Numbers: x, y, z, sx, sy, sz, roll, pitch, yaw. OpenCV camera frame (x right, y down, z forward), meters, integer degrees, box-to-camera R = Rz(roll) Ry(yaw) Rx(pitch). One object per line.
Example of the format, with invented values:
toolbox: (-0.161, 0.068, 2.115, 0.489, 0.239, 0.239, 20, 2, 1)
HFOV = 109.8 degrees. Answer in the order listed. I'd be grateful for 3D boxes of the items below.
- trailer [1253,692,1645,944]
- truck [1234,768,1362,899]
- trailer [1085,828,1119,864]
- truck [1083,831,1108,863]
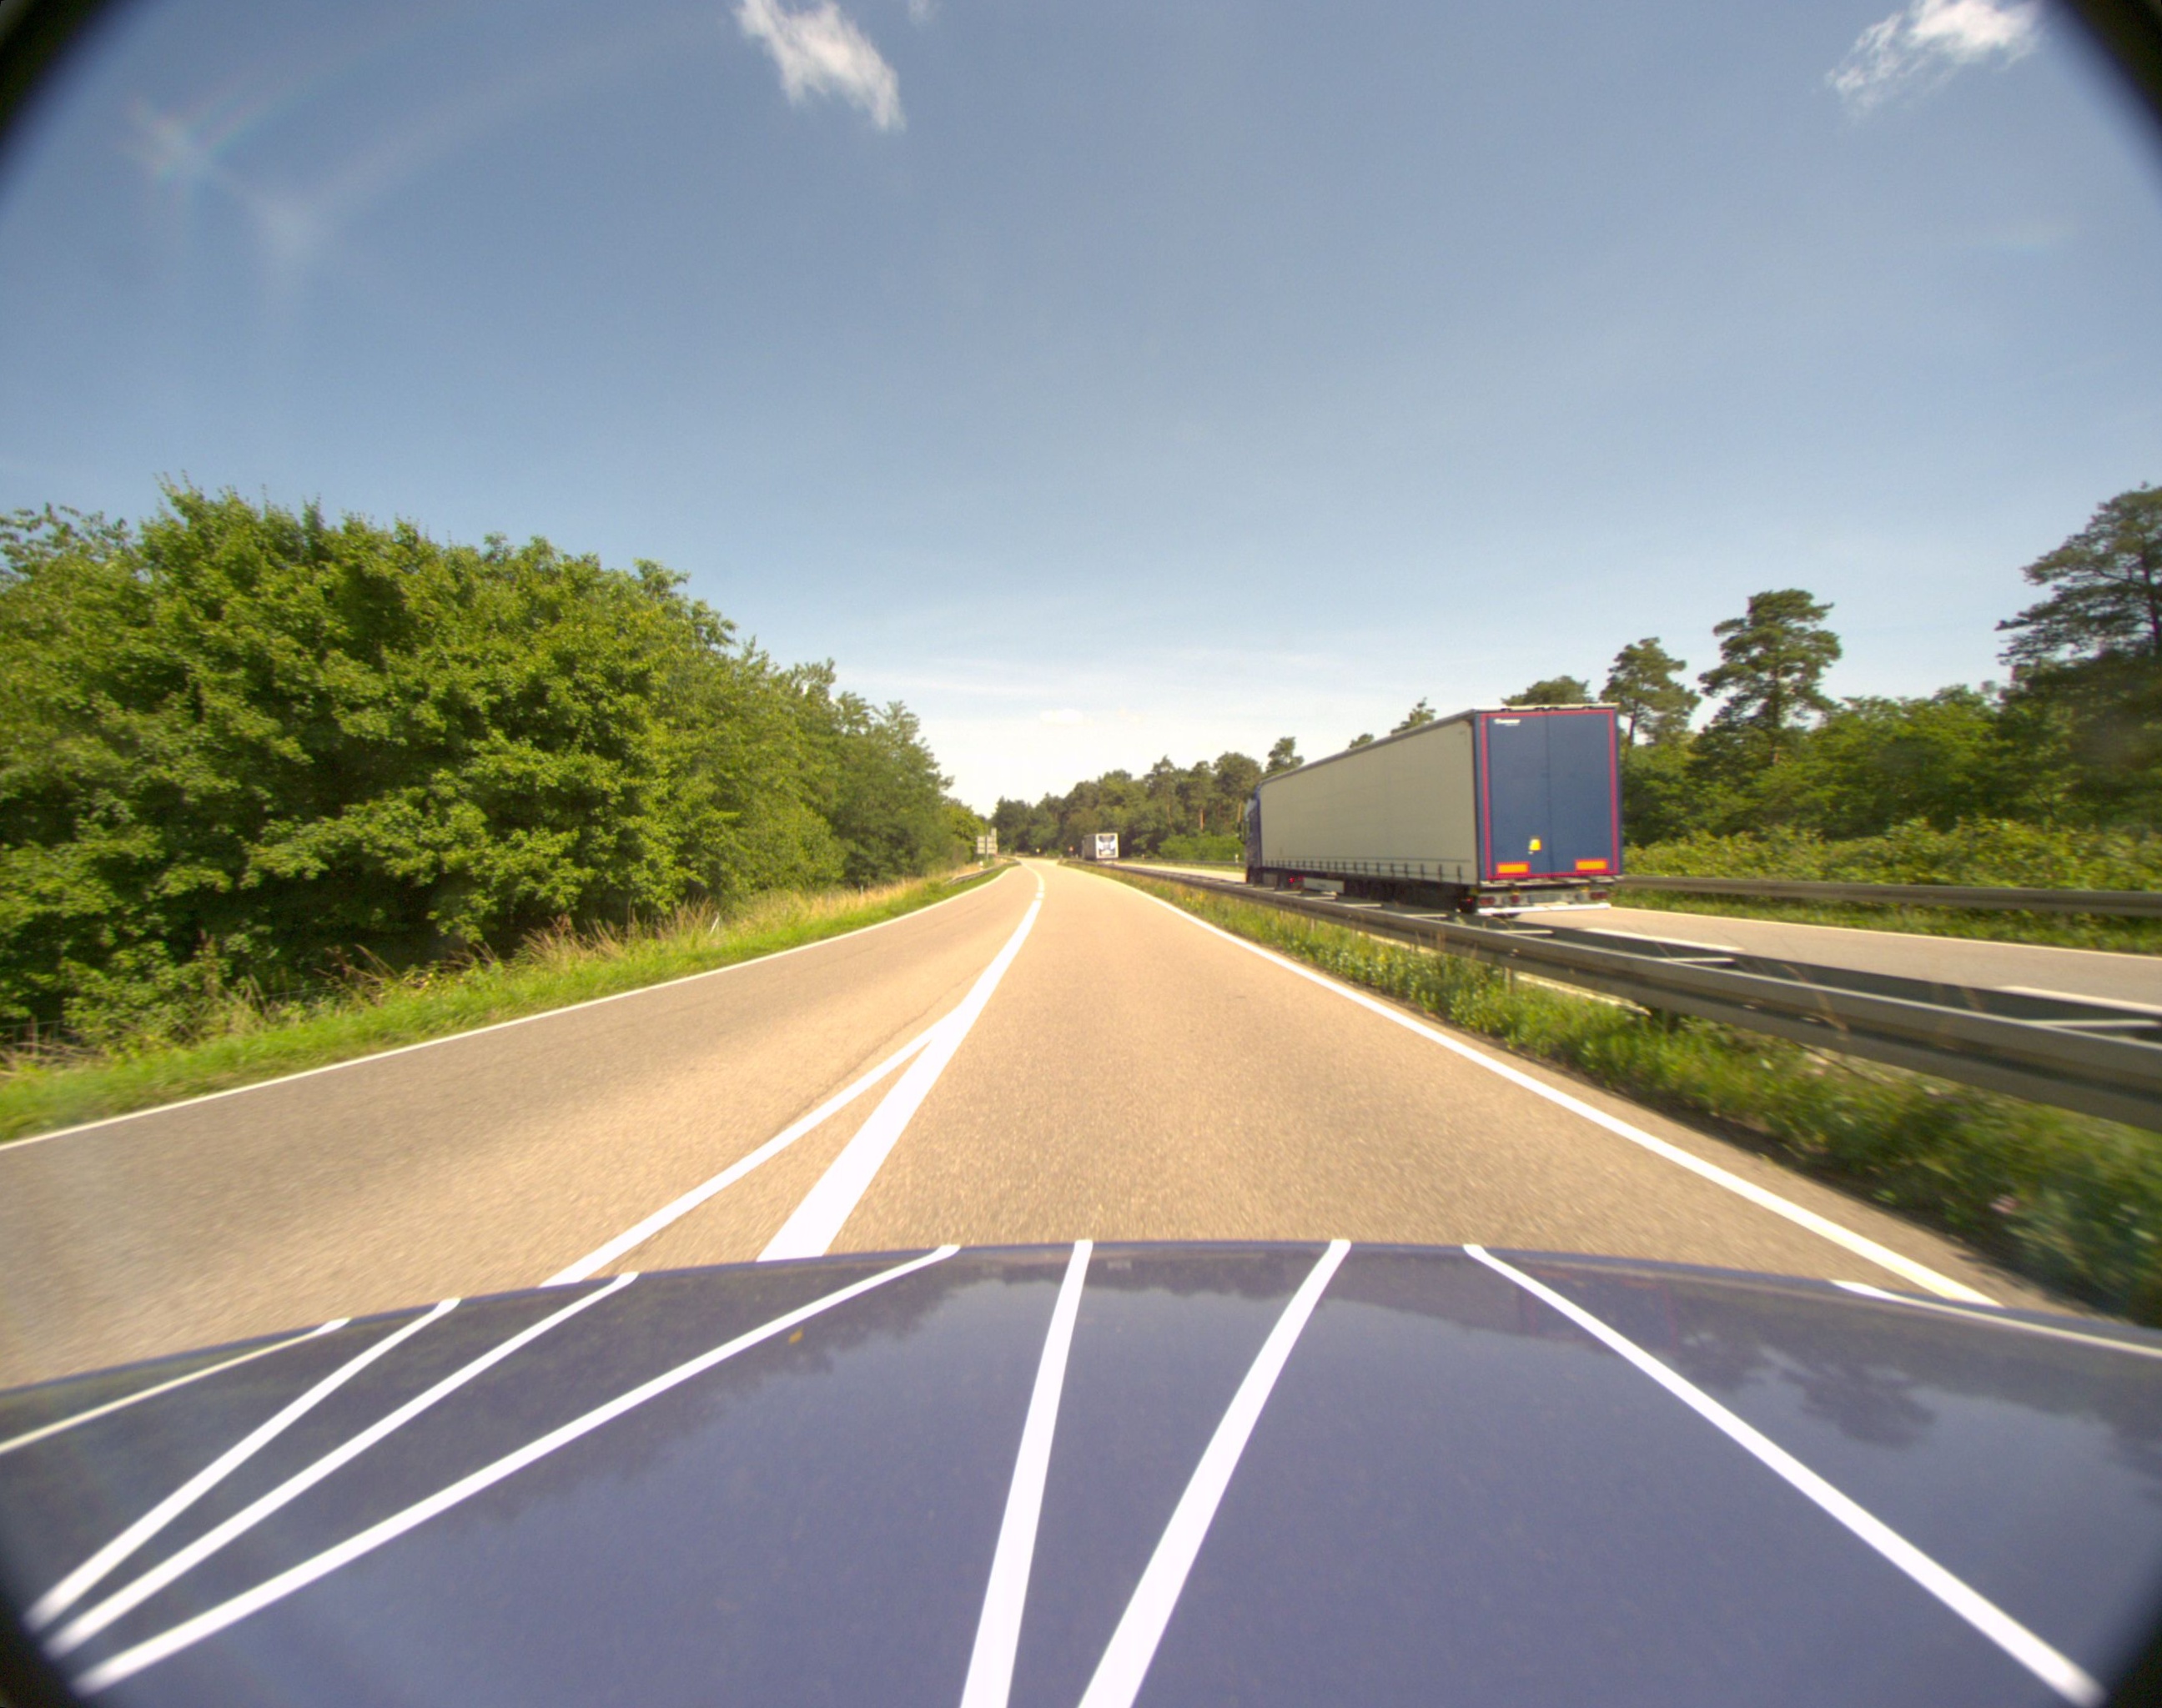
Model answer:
trailer: (7.835, -0.634, 19.997, 2.753, 4.148, 14.579, -2, 0, -2)
truck: (7.568, -0.666, 27.347, 2.775, 4.163, 5.596, -2, 1, -2)
trailer: (2.526, -0.971, 96.980, 2.676, 4.163, 14.055, -2, 0, -5)
truck: (1.940, -0.987, 103.571, 2.676, 4.163, 5.711, -2, 1, -5)
